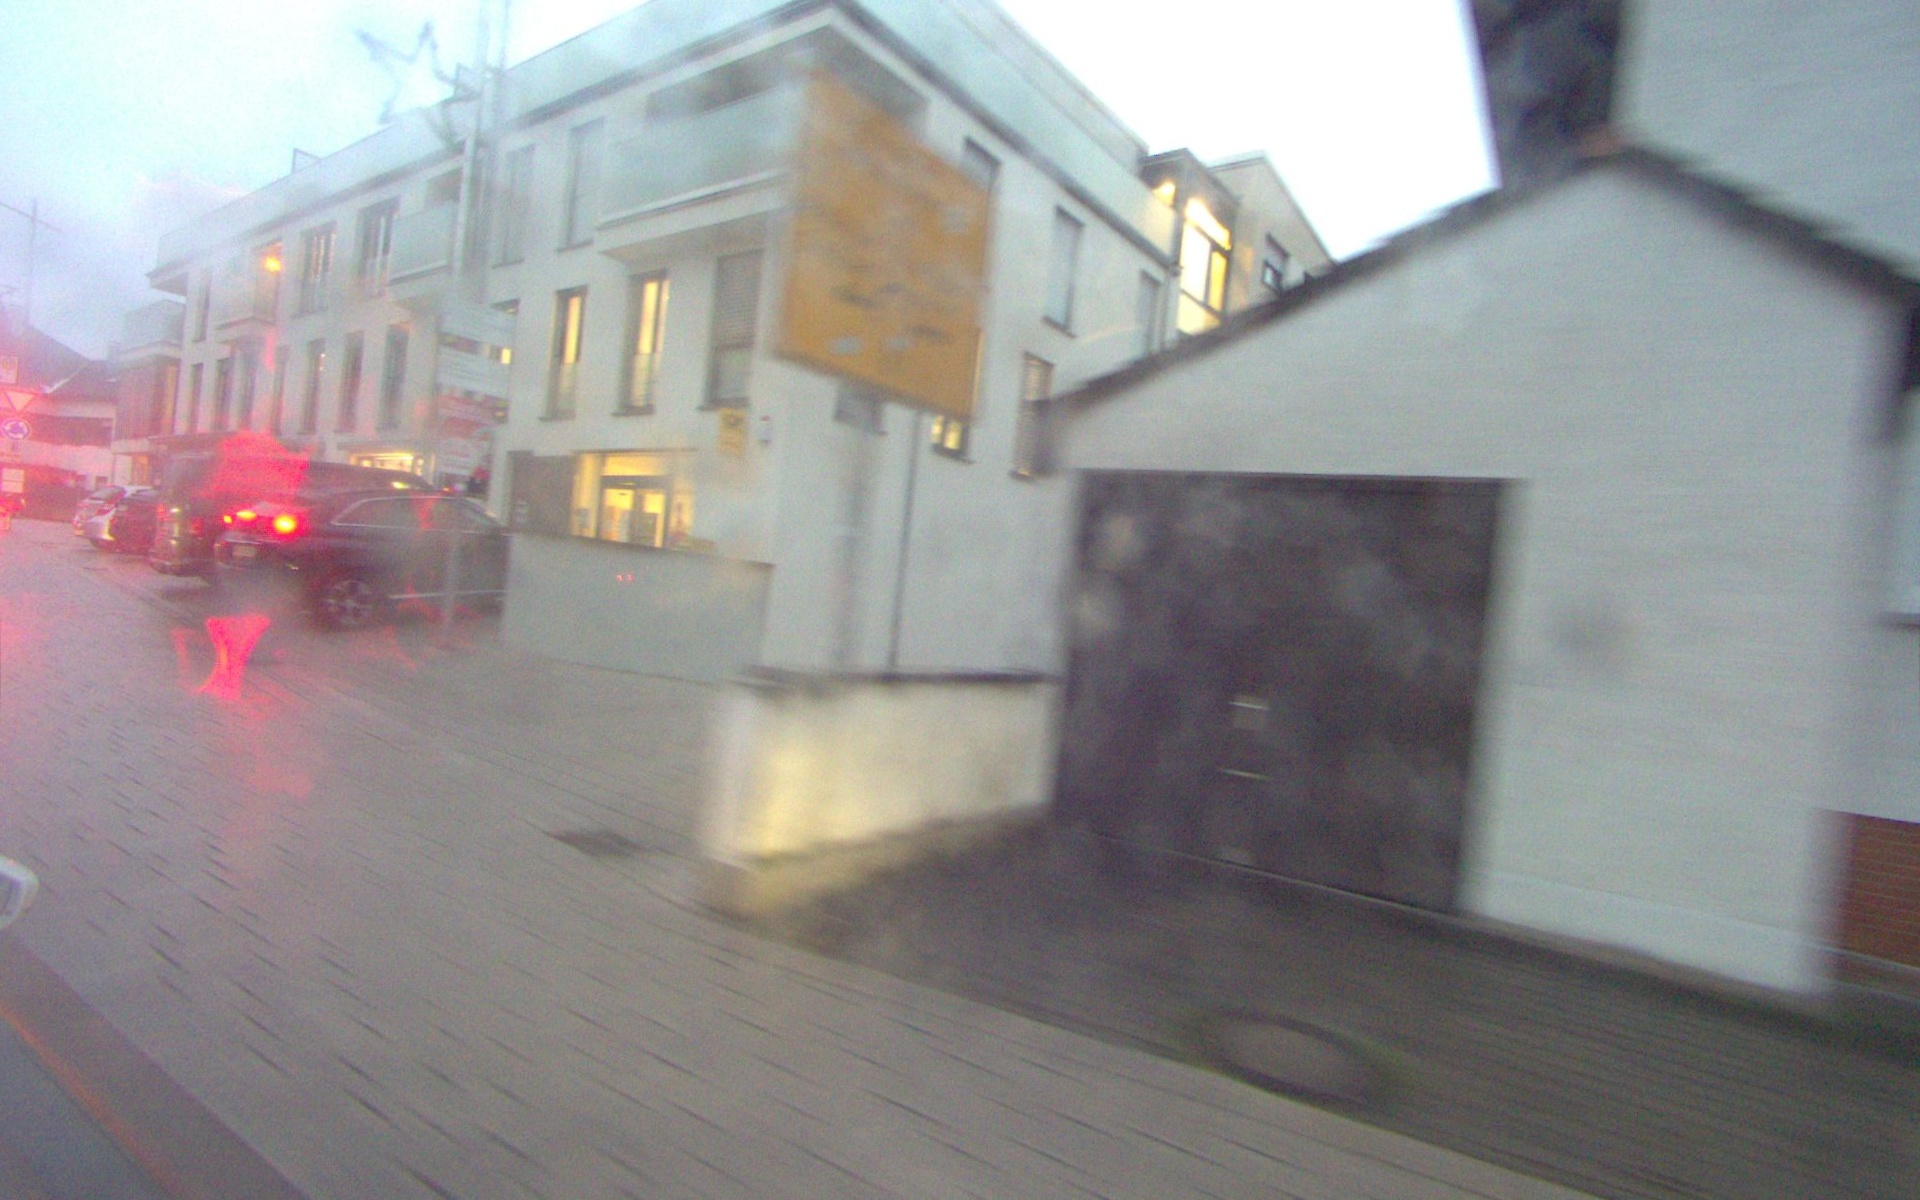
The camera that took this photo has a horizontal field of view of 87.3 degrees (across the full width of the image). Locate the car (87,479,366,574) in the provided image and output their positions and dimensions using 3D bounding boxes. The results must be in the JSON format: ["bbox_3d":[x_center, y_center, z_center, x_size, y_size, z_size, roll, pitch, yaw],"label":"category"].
[{"bbox_3d":[-14.738,-1.438,20.457,1.764,1.480,4.204,6,2,32],"label":"car"}]

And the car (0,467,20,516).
[{"bbox_3d":[-40.134,-4.495,40.610,2.139,2.018,4.463,3,3,-29],"label":"car"}]

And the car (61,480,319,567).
[{"bbox_3d":[-17.051,-1.656,22.485,1.764,1.480,4.204,6,2,32],"label":"car"}]

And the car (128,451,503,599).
[{"bbox_3d":[-9.847,-1.099,15.728,1.920,1.948,4.552,6,5,37],"label":"car"}]

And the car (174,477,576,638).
[{"bbox_3d":[-7.342,-0.607,13.091,1.773,1.664,4.170,7,7,30],"label":"car"}]
